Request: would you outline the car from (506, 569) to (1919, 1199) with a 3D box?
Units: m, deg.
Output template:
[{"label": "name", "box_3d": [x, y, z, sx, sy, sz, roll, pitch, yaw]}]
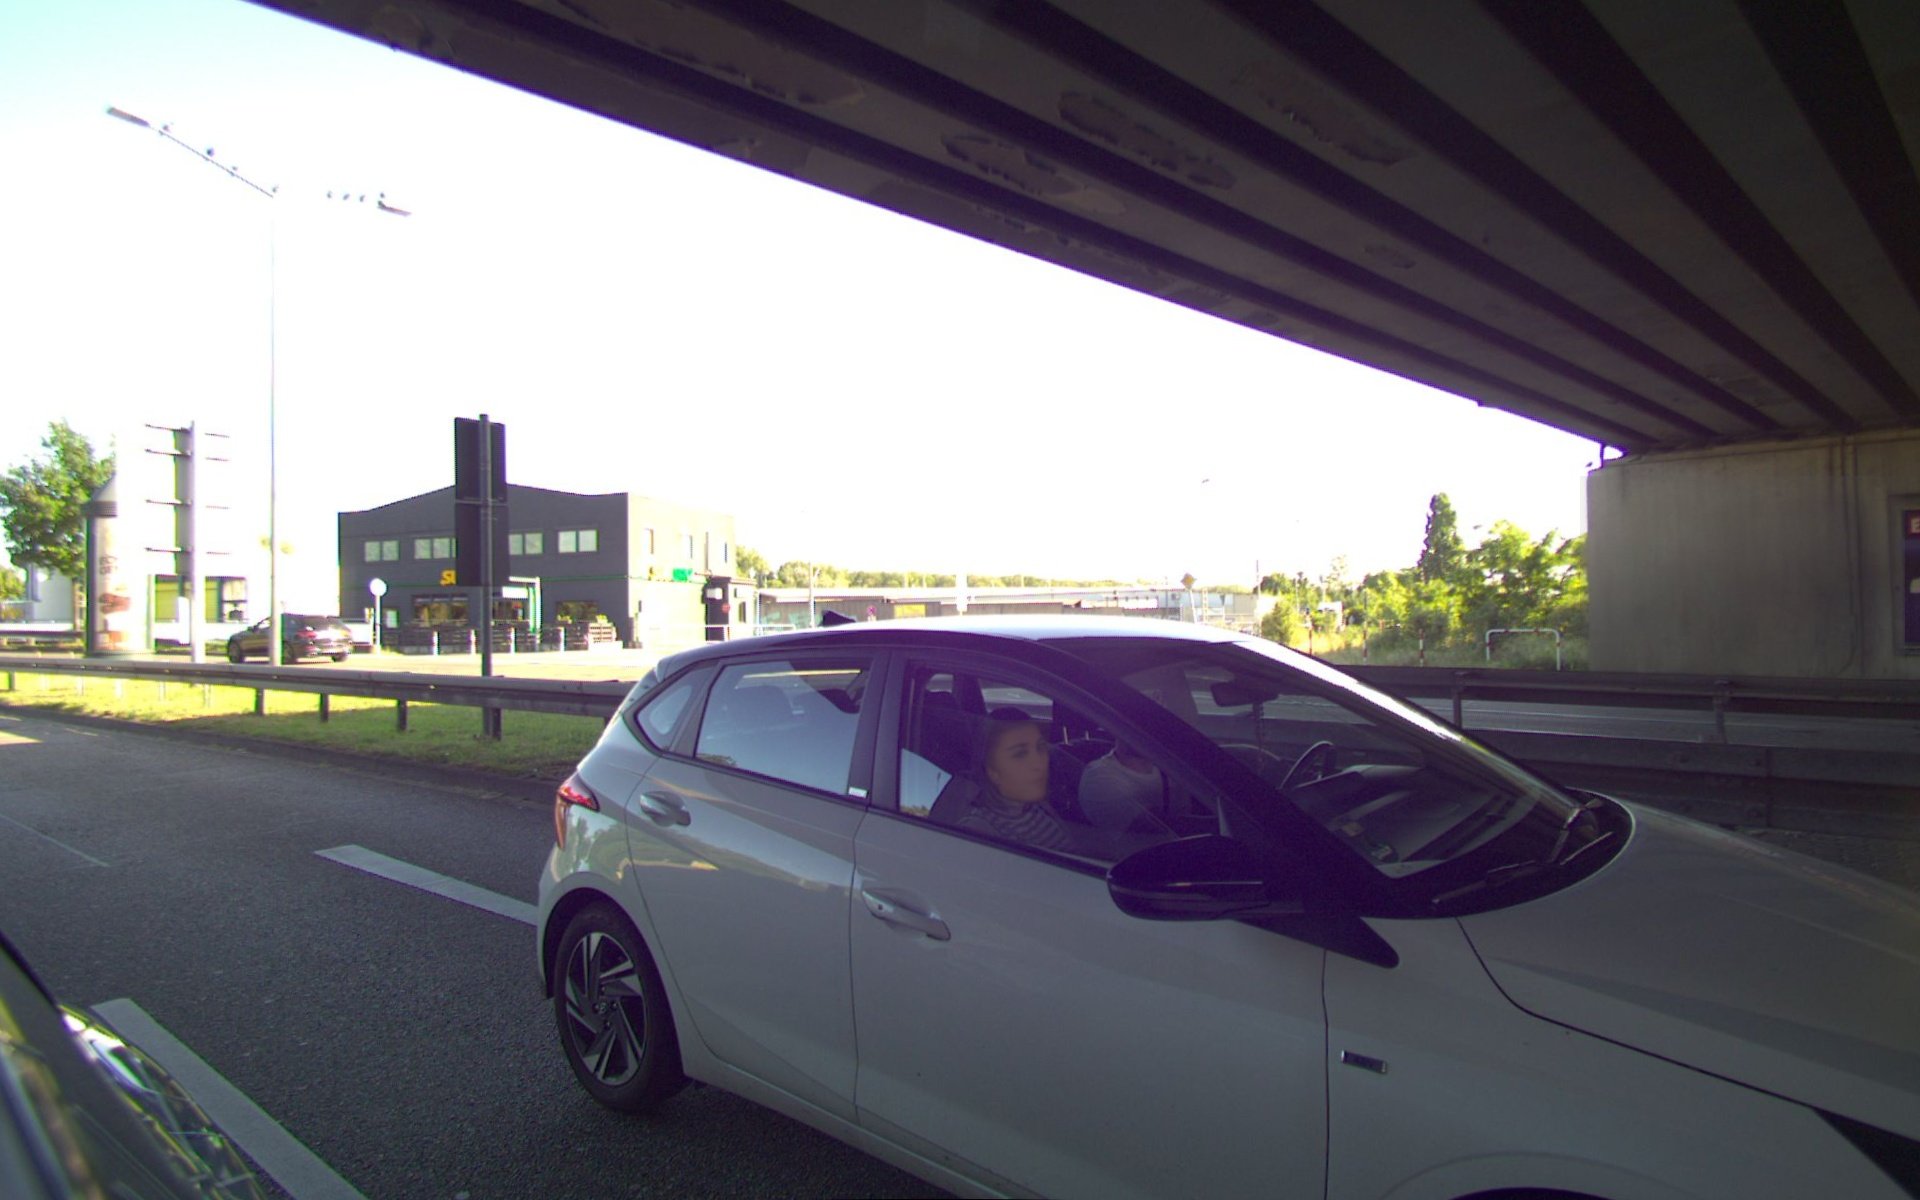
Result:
[{"label": "car", "box_3d": [0.583, 0.694, 2.666, 3.867, 1.414, 1.715, -2, -1, 40]}]

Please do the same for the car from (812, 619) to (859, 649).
[{"label": "car", "box_3d": [-6.695, 1.831, 54.979, 1.858, 1.453, 3.996, -1, 0, 3]}]

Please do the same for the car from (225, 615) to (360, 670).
[{"label": "car", "box_3d": [-21.631, 1.339, 32.759, 4.345, 1.629, 1.839, -1, 0, 29]}]
